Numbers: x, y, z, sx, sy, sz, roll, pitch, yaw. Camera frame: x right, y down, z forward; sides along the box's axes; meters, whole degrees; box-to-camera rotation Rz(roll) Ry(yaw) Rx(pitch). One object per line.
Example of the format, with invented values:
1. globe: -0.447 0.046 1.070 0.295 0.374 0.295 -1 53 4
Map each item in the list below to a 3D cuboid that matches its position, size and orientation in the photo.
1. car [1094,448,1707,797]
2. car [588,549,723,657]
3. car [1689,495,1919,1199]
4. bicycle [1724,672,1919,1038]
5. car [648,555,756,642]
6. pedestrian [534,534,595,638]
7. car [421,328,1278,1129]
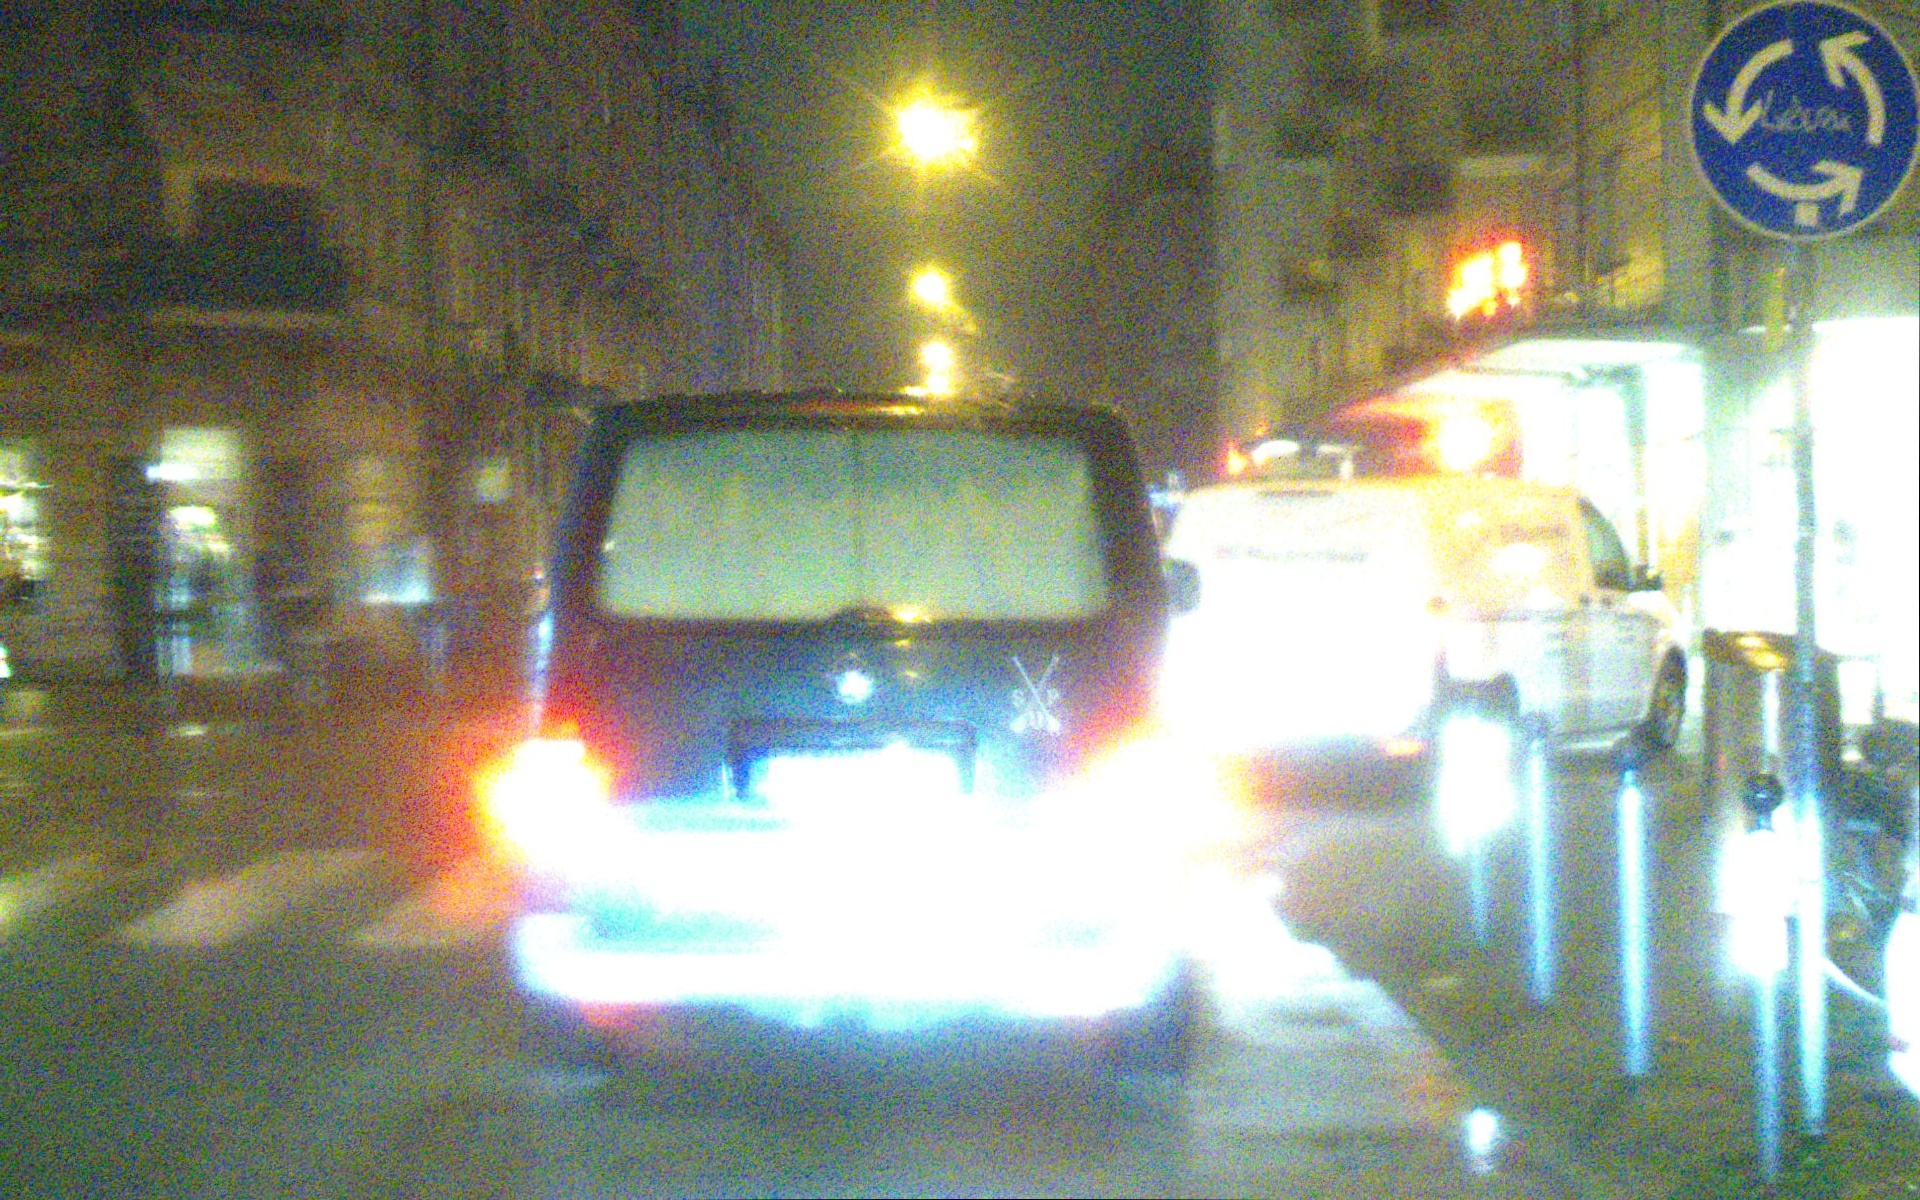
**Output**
1. car: 2.894 0.085 21.494 2.126 1.916 4.818 1 1 30
2. car: -4.458 0.015 50.766 1.586 1.458 4.024 2 1 0
3. car: 3.861 0.476 7.502 4.249 1.568 1.772 -3 1 -28
4. bicycle: 2.995 0.733 9.776 1.645 1.023 0.335 0 2 44
5. car: -4.431 -0.047 59.327 1.586 1.444 3.503 0 1 0
6. pedestrian: -6.791 -0.239 59.028 0.804 1.760 1.015 1 0 6
7. car: -0.274 0.295 10.859 2.122 1.984 4.601 0 1 0
